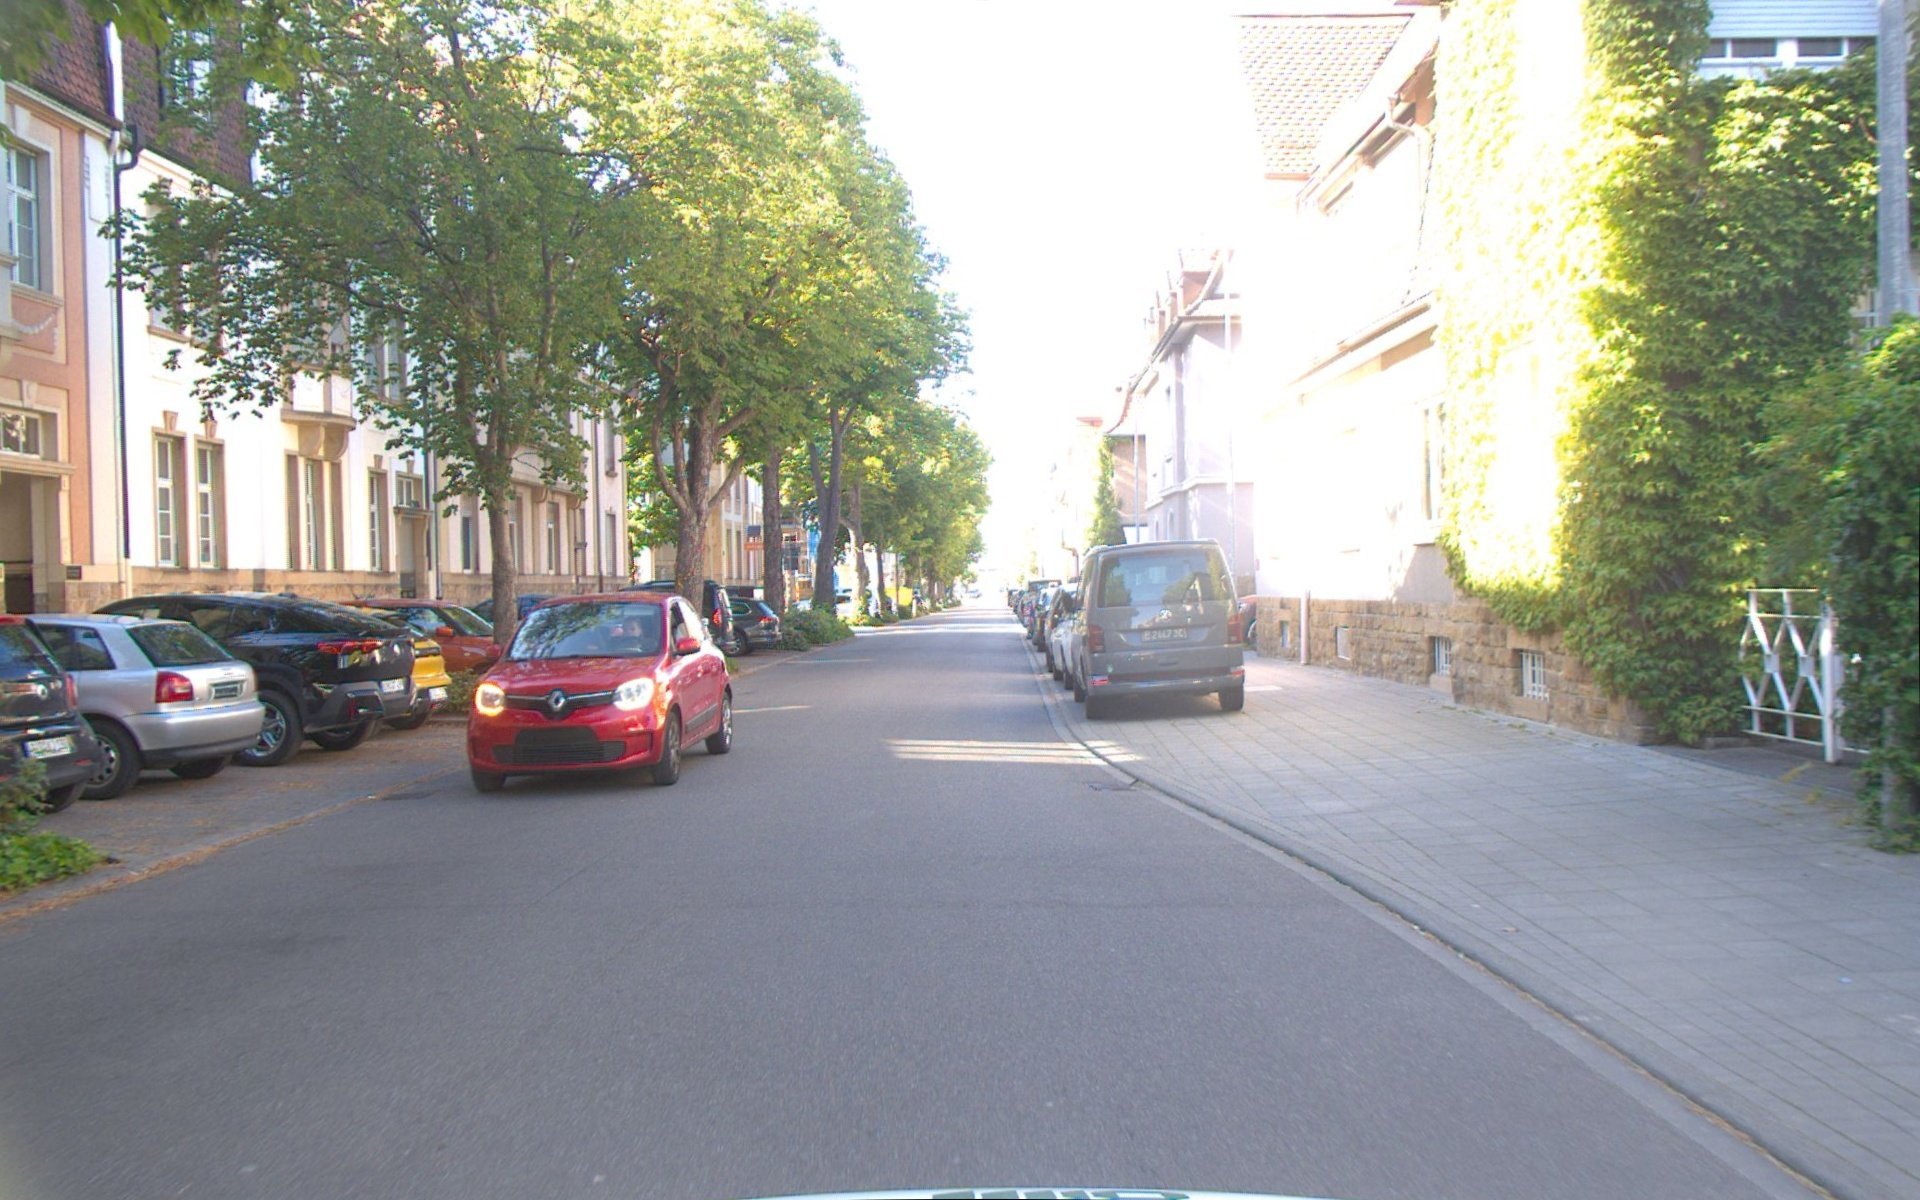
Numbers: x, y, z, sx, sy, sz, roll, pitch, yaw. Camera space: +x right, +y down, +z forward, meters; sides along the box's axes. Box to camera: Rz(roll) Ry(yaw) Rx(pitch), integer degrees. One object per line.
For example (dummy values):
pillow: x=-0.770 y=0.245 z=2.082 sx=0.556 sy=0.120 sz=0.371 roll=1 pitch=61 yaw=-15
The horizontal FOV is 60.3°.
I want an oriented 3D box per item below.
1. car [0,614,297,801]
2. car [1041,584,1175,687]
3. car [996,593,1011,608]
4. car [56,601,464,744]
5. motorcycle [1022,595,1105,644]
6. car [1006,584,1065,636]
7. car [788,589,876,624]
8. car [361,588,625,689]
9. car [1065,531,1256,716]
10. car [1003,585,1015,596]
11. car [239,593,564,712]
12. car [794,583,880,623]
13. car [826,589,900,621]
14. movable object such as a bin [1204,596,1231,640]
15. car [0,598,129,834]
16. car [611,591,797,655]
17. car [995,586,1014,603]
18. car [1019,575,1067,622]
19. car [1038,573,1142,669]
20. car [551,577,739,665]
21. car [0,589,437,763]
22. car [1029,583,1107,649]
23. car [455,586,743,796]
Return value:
car: x=-7.845 y=0.842 z=13.755 sx=3.904 sy=1.428 sz=1.830 roll=0 pitch=0 yaw=2
car: x=2.324 y=0.513 z=26.926 sx=1.645 sy=1.483 sz=4.437 roll=-2 pitch=0 yaw=-1
car: x=5.054 y=0.022 z=191.695 sx=1.734 sy=1.659 sz=3.867 roll=-1 pitch=0 yaw=2
car: x=-7.647 y=0.769 z=18.316 sx=3.711 sy=1.487 sz=1.864 roll=0 pitch=0 yaw=2
motorcycle: x=2.954 y=0.556 z=47.244 sx=2.161 sy=1.362 sz=0.916 roll=0 pitch=1 yaw=-20
car: x=2.463 y=0.313 z=54.759 sx=1.665 sy=1.566 sz=4.155 roll=-4 pitch=0 yaw=-1
car: x=-5.762 y=0.303 z=74.918 sx=3.907 sy=1.490 sz=1.797 roll=1 pitch=-1 yaw=-3
car: x=-7.819 y=0.622 z=27.942 sx=3.905 sy=1.620 sz=1.859 roll=0 pitch=0 yaw=0
car: x=2.375 y=0.245 z=20.739 sx=1.826 sy=1.949 sz=4.783 roll=-3 pitch=0 yaw=1
car: x=7.501 y=-1.410 z=254.790 sx=1.734 sy=1.659 sz=3.867 roll=-1 pitch=0 yaw=2
car: x=-7.686 y=0.707 z=23.005 sx=3.905 sy=1.541 sz=1.747 roll=-1 pitch=0 yaw=1
car: x=-5.722 y=0.153 z=77.400 sx=3.907 sy=1.791 sz=1.797 roll=1 pitch=0 yaw=-3
car: x=-5.346 y=0.264 z=91.031 sx=3.911 sy=1.579 sz=1.835 roll=-2 pitch=1 yaw=-7
movable object such as a bin: x=6.441 y=0.453 z=41.385 sx=0.557 sy=1.058 sz=0.618 roll=-2 pitch=0 yaw=-1
car: x=-8.173 y=0.832 z=11.468 sx=3.904 sy=1.534 sz=1.723 roll=-2 pitch=0 yaw=2
car: x=-6.519 y=0.583 z=42.425 sx=4.439 sy=1.529 sz=1.892 roll=-1 pitch=0 yaw=0
car: x=4.397 y=-0.530 z=163.071 sx=1.734 sy=1.659 sz=3.867 roll=-1 pitch=0 yaw=2
car: x=3.676 y=-0.094 z=73.803 sx=1.865 sy=1.903 sz=4.674 roll=-4 pitch=0 yaw=1
car: x=2.462 y=0.362 z=32.100 sx=1.752 sy=1.628 sz=4.001 roll=-4 pitch=0 yaw=2
car: x=-7.114 y=0.472 z=37.629 sx=3.898 sy=1.888 sz=1.829 roll=-1 pitch=0 yaw=0
car: x=-7.393 y=0.706 z=16.209 sx=3.904 sy=1.594 sz=1.864 roll=0 pitch=0 yaw=2
car: x=2.723 y=0.378 z=42.527 sx=1.816 sy=1.519 sz=4.609 roll=-3 pitch=0 yaw=2
car: x=-3.003 y=0.682 z=14.496 sx=1.607 sy=1.534 sz=3.703 roll=-3 pitch=0 yaw=1
